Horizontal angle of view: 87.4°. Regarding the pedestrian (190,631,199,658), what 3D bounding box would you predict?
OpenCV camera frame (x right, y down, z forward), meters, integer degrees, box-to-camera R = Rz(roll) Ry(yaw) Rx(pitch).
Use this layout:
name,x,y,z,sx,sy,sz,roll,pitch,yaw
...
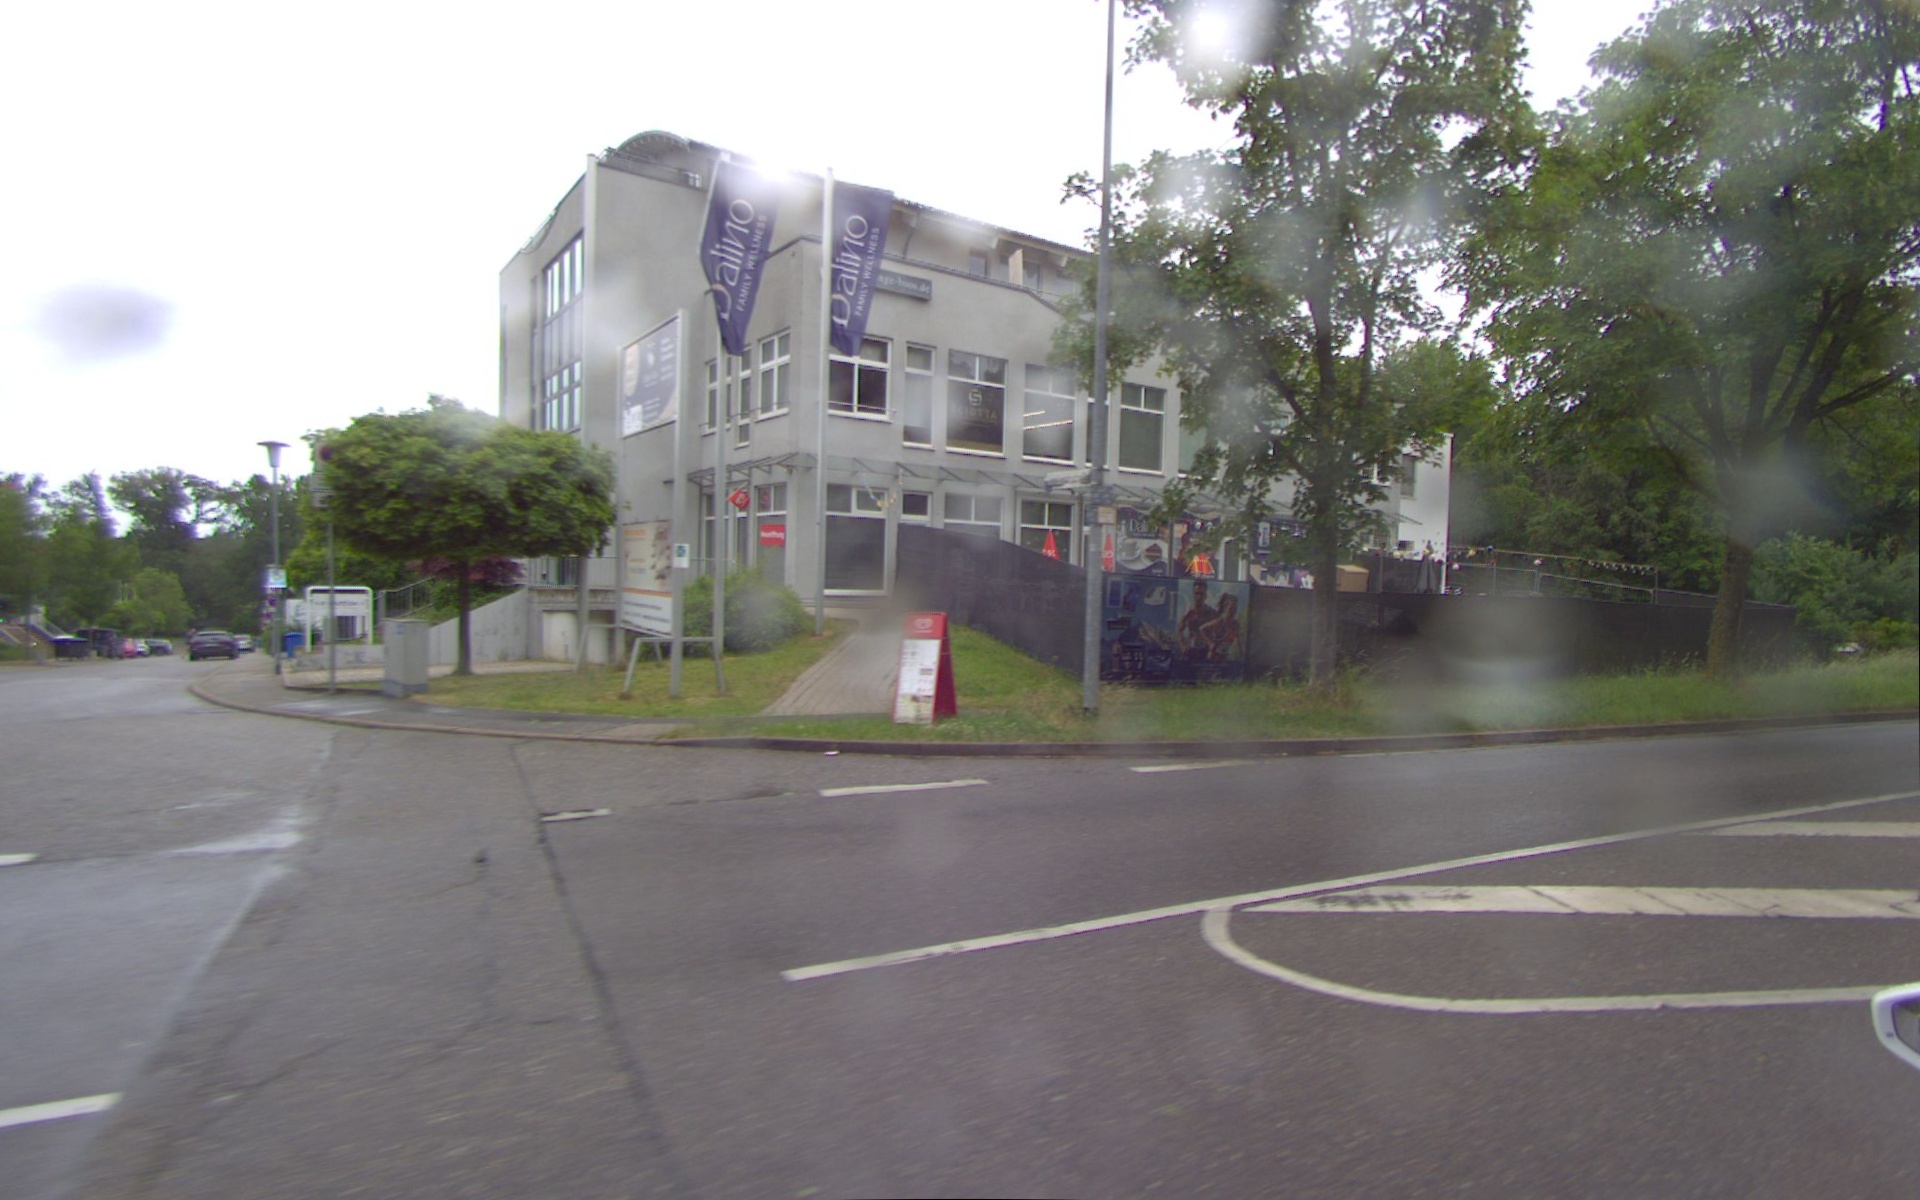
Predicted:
name,x,y,z,sx,sy,sz,roll,pitch,yaw
pedestrian,-43.933,2.560,57.633,0.405,1.542,0.417,1,-1,-39

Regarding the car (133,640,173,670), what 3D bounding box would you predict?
name,x,y,z,sx,sy,sz,roll,pitch,yaw
car,-59.098,3.988,73.606,1.980,2.040,3.961,1,-1,-35

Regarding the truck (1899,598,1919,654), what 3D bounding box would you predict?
name,x,y,z,sx,sy,sz,roll,pitch,yaw
truck,44.926,1.206,45.610,5.164,2.491,1.983,1,2,-32

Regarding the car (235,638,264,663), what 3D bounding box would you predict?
name,x,y,z,sx,sy,sz,roll,pitch,yaw
car,-60.869,4.292,86.096,1.980,2.040,3.961,1,-1,-35

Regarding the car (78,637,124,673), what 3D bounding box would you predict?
name,x,y,z,sx,sy,sz,roll,pitch,yaw
car,-55.836,3.528,65.318,1.853,2.174,3.961,1,-1,-35

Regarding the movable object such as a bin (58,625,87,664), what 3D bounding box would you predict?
name,x,y,z,sx,sy,sz,roll,pitch,yaw
movable object such as a bin,-51.317,2.546,58.101,1.103,2.174,1.249,1,-1,-35

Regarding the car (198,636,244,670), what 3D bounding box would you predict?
name,x,y,z,sx,sy,sz,roll,pitch,yaw
car,-38.254,2.704,52.067,1.792,1.599,3.961,1,-1,-35

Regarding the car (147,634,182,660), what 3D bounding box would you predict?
name,x,y,z,sx,sy,sz,roll,pitch,yaw
car,-65.305,3.820,82.463,1.980,2.040,3.961,1,-1,-35
